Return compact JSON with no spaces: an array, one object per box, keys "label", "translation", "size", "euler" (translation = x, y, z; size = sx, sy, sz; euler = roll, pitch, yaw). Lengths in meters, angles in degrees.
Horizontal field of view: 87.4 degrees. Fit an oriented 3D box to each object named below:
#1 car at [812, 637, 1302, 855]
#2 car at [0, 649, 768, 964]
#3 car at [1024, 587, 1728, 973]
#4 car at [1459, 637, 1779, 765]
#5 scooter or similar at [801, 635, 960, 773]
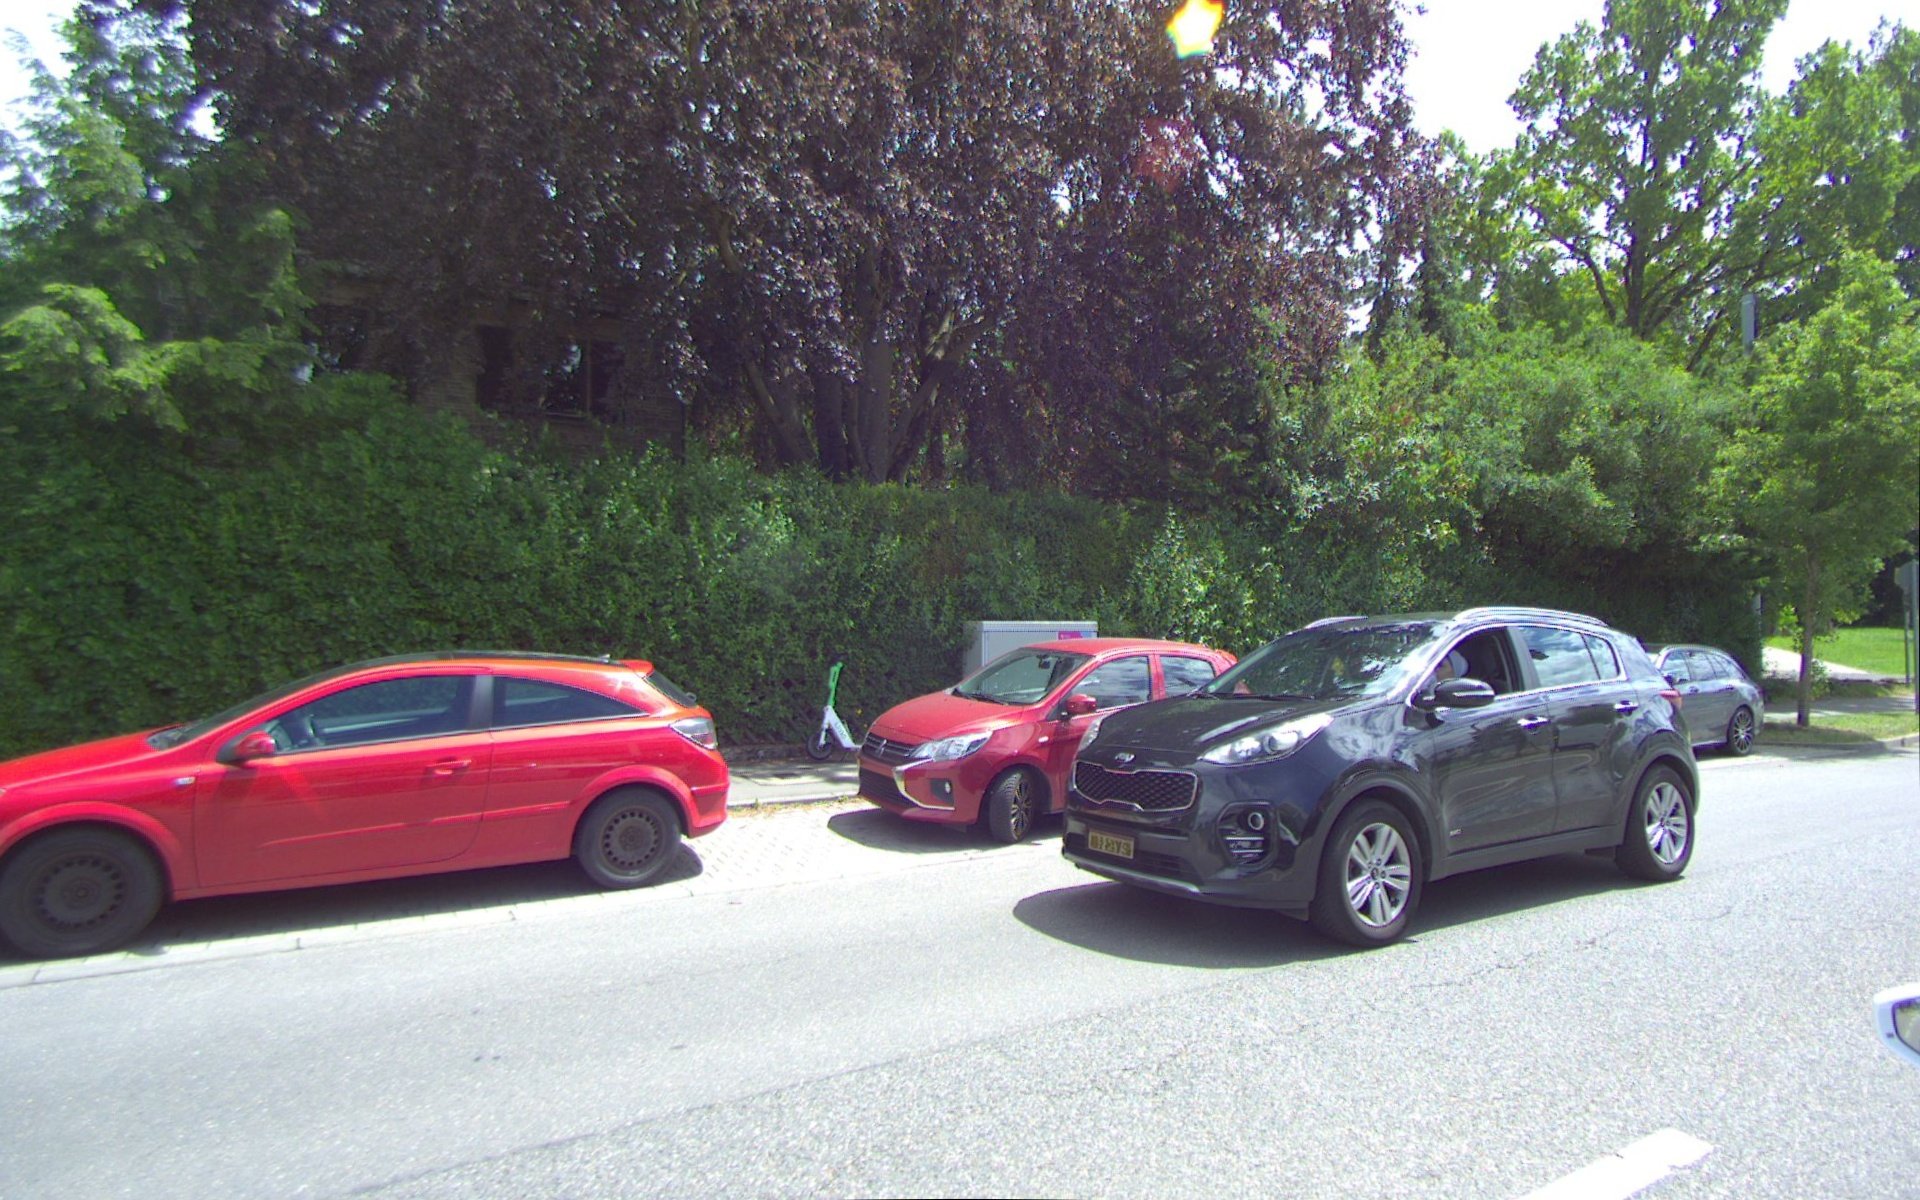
[{"label":"car","translation":[0.926,1.082,8.704],"size":[4.058,1.470,1.641],"euler":[2,-1,-31]},{"label":"car","translation":[-3.603,1.021,6.063],"size":[4.512,1.396,1.653],"euler":[2,-1,-30]},{"label":"car","translation":[2.609,0.873,6.134],"size":[4.103,1.637,1.825],"euler":[1,-5,-30]},{"label":"car","translation":[8.770,1.225,13.251],"size":[4.632,1.383,1.686],"euler":[2,-1,-31]},{"label":"scooter or similar","translation":[-0.874,1.106,11.175],"size":[1.629,1.431,0.667],"euler":[1,-1,-29]}]
